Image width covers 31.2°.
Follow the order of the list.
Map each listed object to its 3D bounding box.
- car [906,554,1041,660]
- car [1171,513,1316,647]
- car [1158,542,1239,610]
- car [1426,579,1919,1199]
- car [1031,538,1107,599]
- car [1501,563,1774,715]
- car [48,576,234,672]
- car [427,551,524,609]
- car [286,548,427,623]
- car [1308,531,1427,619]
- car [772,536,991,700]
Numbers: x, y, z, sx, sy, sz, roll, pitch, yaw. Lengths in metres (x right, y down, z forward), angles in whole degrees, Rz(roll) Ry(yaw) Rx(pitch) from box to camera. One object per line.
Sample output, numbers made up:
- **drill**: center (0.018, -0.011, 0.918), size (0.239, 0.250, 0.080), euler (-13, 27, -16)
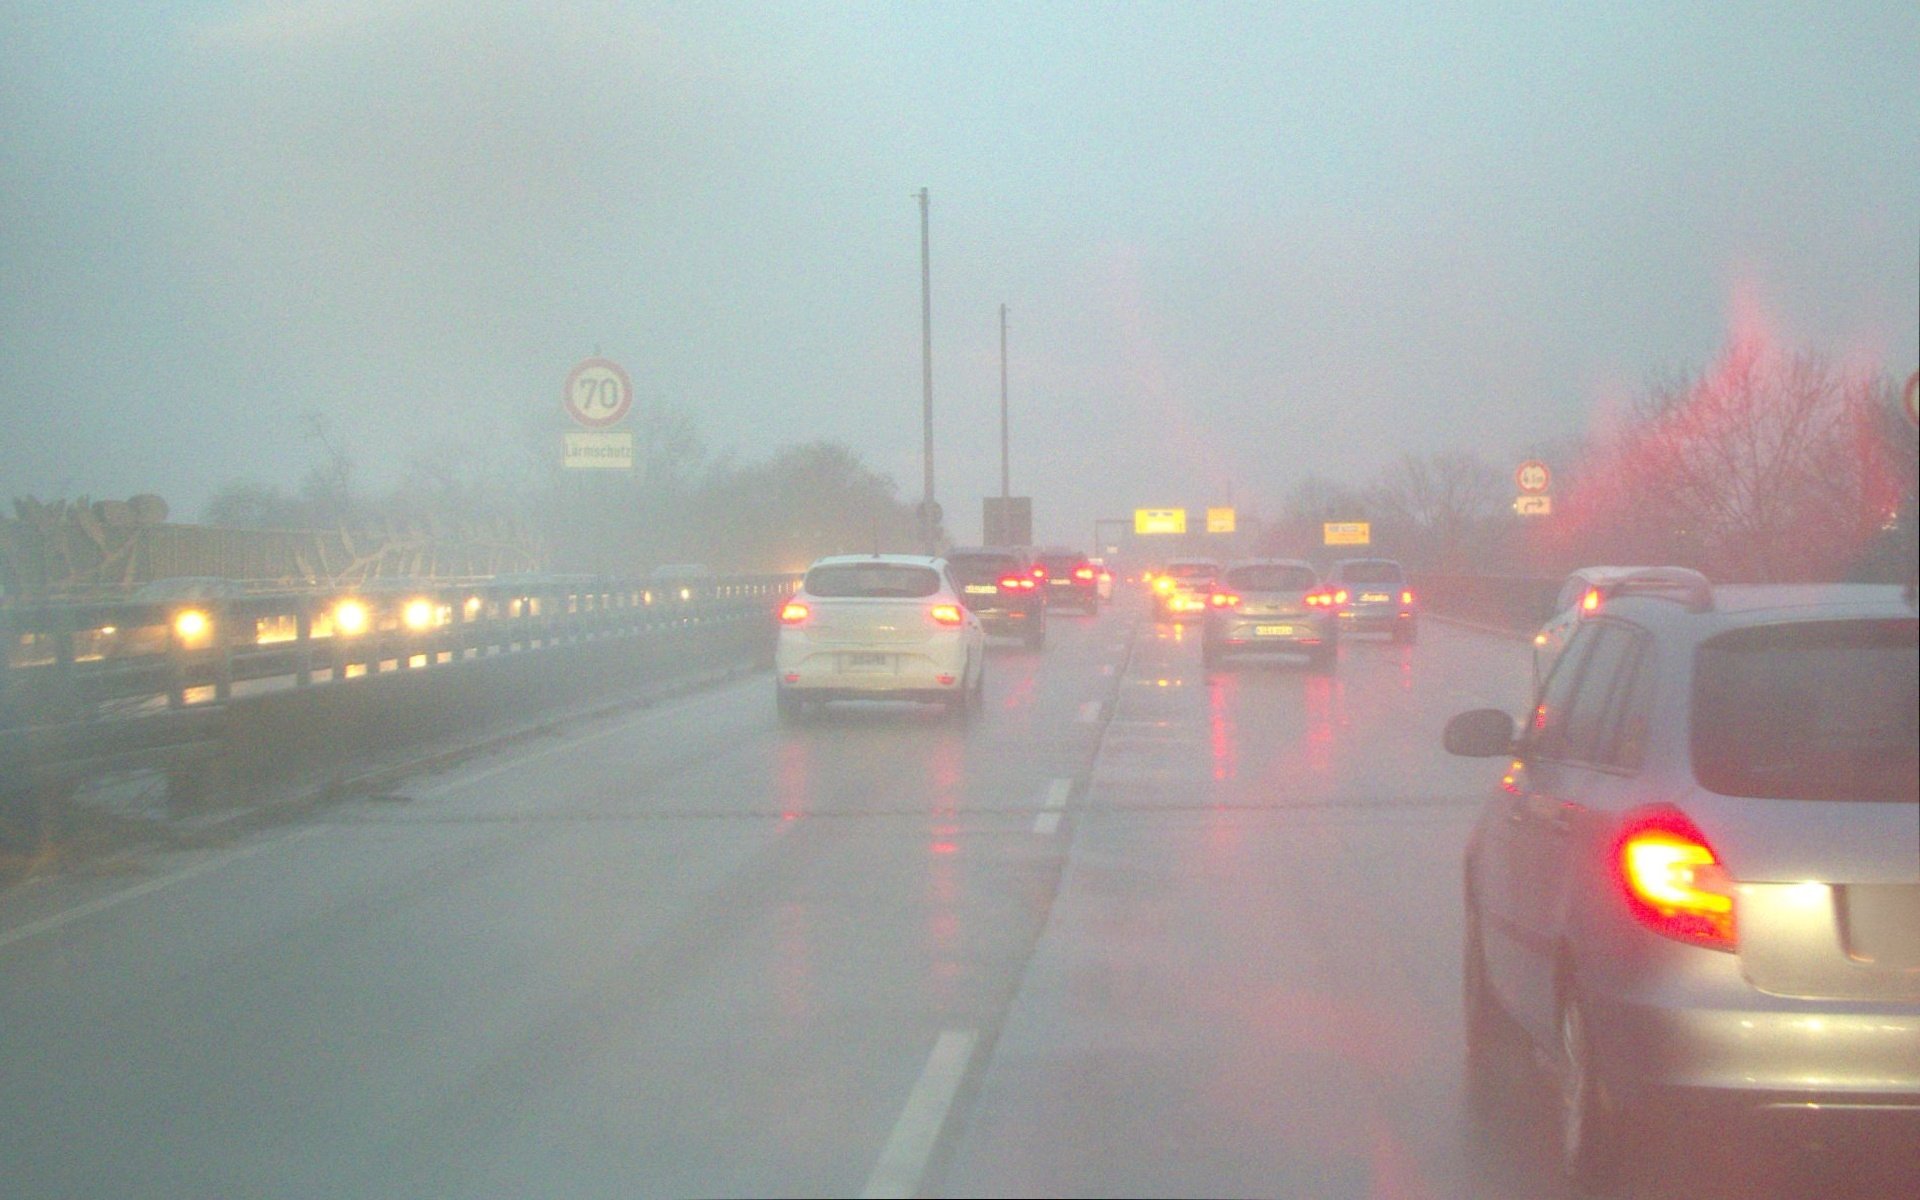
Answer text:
- **car**: center (0.254, 0.082, 55.594), size (1.994, 1.596, 4.308), euler (1, 1, 2)
- **car**: center (3.986, -0.307, 47.910), size (1.898, 1.761, 4.308), euler (1, 1, 6)
- **car**: center (5.515, -0.571, 79.857), size (1.789, 1.540, 4.000), euler (0, 1, 3)
- **car**: center (2.456, 0.708, 9.459), size (1.994, 1.495, 4.137), euler (0, 1, 3)
- **car**: center (2.836, -0.839, 90.086), size (1.789, 1.540, 4.000), euler (1, 1, -1)
- **car**: center (6.485, 0.337, 33.318), size (1.993, 1.341, 4.000), euler (0, 1, 2)
- **car**: center (-13.624, 0.370, 57.413), size (1.894, 1.459, 4.460), euler (-1, 1, 2)
- **car**: center (-12.803, -0.537, 91.015), size (1.894, 1.459, 4.000), euler (-1, 1, 1)
- **car**: center (-12.393, -0.327, 70.874), size (1.894, 1.459, 4.829), euler (-1, 1, 2)
- **car**: center (7.417, -0.479, 62.845), size (1.789, 1.540, 4.000), euler (-1, 1, 2)
- **car**: center (-0.682, 0.122, 32.558), size (1.724, 1.435, 4.225), euler (1, 1, 3)
